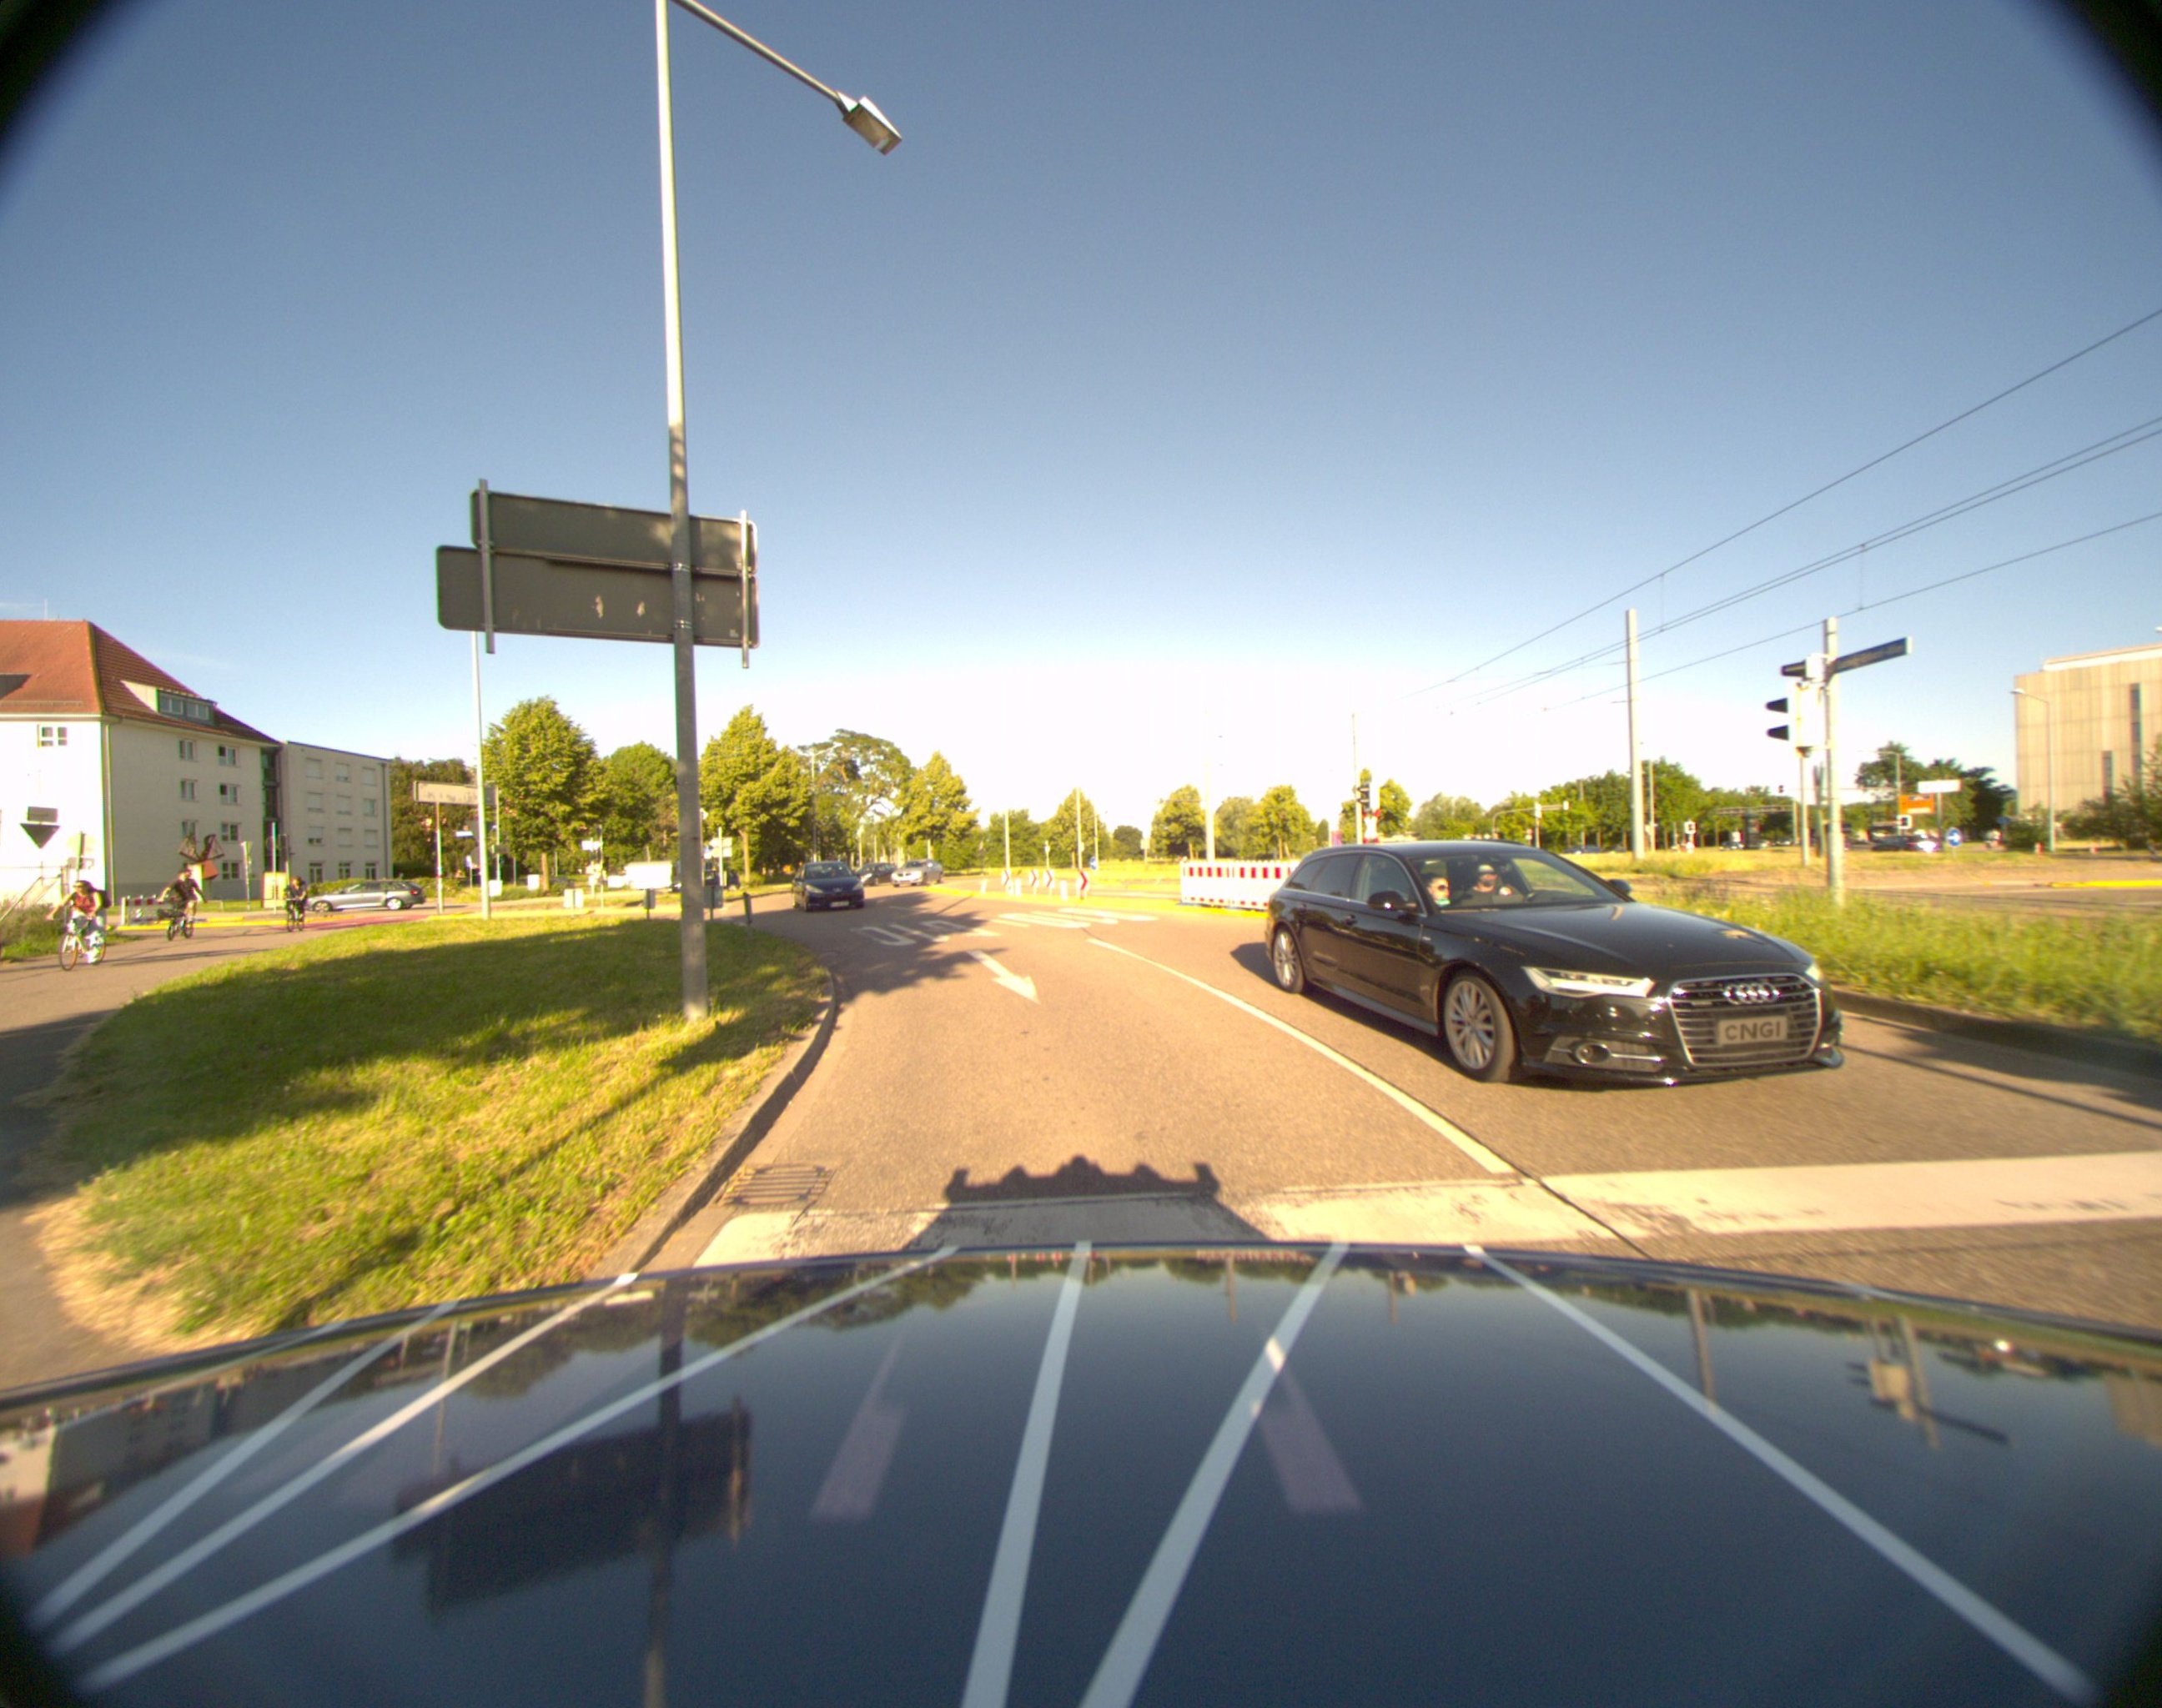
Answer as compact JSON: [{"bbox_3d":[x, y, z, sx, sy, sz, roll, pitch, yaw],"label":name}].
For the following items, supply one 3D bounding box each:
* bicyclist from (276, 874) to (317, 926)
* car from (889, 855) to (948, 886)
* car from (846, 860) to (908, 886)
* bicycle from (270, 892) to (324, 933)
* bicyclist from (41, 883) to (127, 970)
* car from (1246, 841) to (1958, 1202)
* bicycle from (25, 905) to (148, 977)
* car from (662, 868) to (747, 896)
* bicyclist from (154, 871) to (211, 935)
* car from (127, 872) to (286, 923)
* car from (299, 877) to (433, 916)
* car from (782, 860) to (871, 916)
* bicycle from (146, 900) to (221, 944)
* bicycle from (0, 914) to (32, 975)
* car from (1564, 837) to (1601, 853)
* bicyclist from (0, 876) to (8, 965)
[{"bbox_3d":[-23.832,1.382,23.085,0.472,1.477,0.914,-3,2,-23],"label":"bicyclist"},{"bbox_3d":[-9.029,0.868,42.589,1.848,1.560,4.530,-2,0,6],"label":"car"},{"bbox_3d":[-12.509,1.126,46.838,1.846,1.419,3.952,-2,0,17],"label":"car"},{"bbox_3d":[-23.829,1.759,23.127,0.480,1.076,1.641,-3,1,-23],"label":"bicycle"},{"bbox_3d":[-18.005,1.283,13.741,0.505,1.464,0.832,-2,1,-18],"label":"bicyclist"},{"bbox_3d":[2.999,0.732,5.817,1.790,1.518,4.597,-4,1,-9],"label":"car"},{"bbox_3d":[-17.992,1.539,13.799,0.507,1.145,1.603,0,-1,-17],"label":"bicycle"},{"bbox_3d":[-21.901,1.588,44.331,1.752,1.370,4.007,-1,2,41],"label":"car"},{"bbox_3d":[-23.404,1.251,19.806,0.594,1.578,0.963,-3,2,-30],"label":"bicyclist"},{"bbox_3d":[-33.551,1.635,29.262,3.564,1.740,2.024,-2,0,-6],"label":"car"},{"bbox_3d":[-33.563,1.953,35.867,4.282,1.420,1.845,-3,2,-33],"label":"car"},{"bbox_3d":[-8.053,0.996,23.851,1.767,1.506,3.938,-3,1,-31],"label":"car"},{"bbox_3d":[-23.397,1.740,19.847,0.594,0.955,1.896,-3,2,-30],"label":"bicycle"},{"bbox_3d":[-19.052,1.608,12.969,0.658,1.006,1.816,-2,1,-31],"label":"bicycle"},{"bbox_3d":[47.459,-0.857,71.898,4.018,1.420,1.798,-3,2,-40],"label":"car"},{"bbox_3d":[-18.991,1.169,12.861,0.656,1.544,0.793,-2,1,-32],"label":"bicyclist"}]
